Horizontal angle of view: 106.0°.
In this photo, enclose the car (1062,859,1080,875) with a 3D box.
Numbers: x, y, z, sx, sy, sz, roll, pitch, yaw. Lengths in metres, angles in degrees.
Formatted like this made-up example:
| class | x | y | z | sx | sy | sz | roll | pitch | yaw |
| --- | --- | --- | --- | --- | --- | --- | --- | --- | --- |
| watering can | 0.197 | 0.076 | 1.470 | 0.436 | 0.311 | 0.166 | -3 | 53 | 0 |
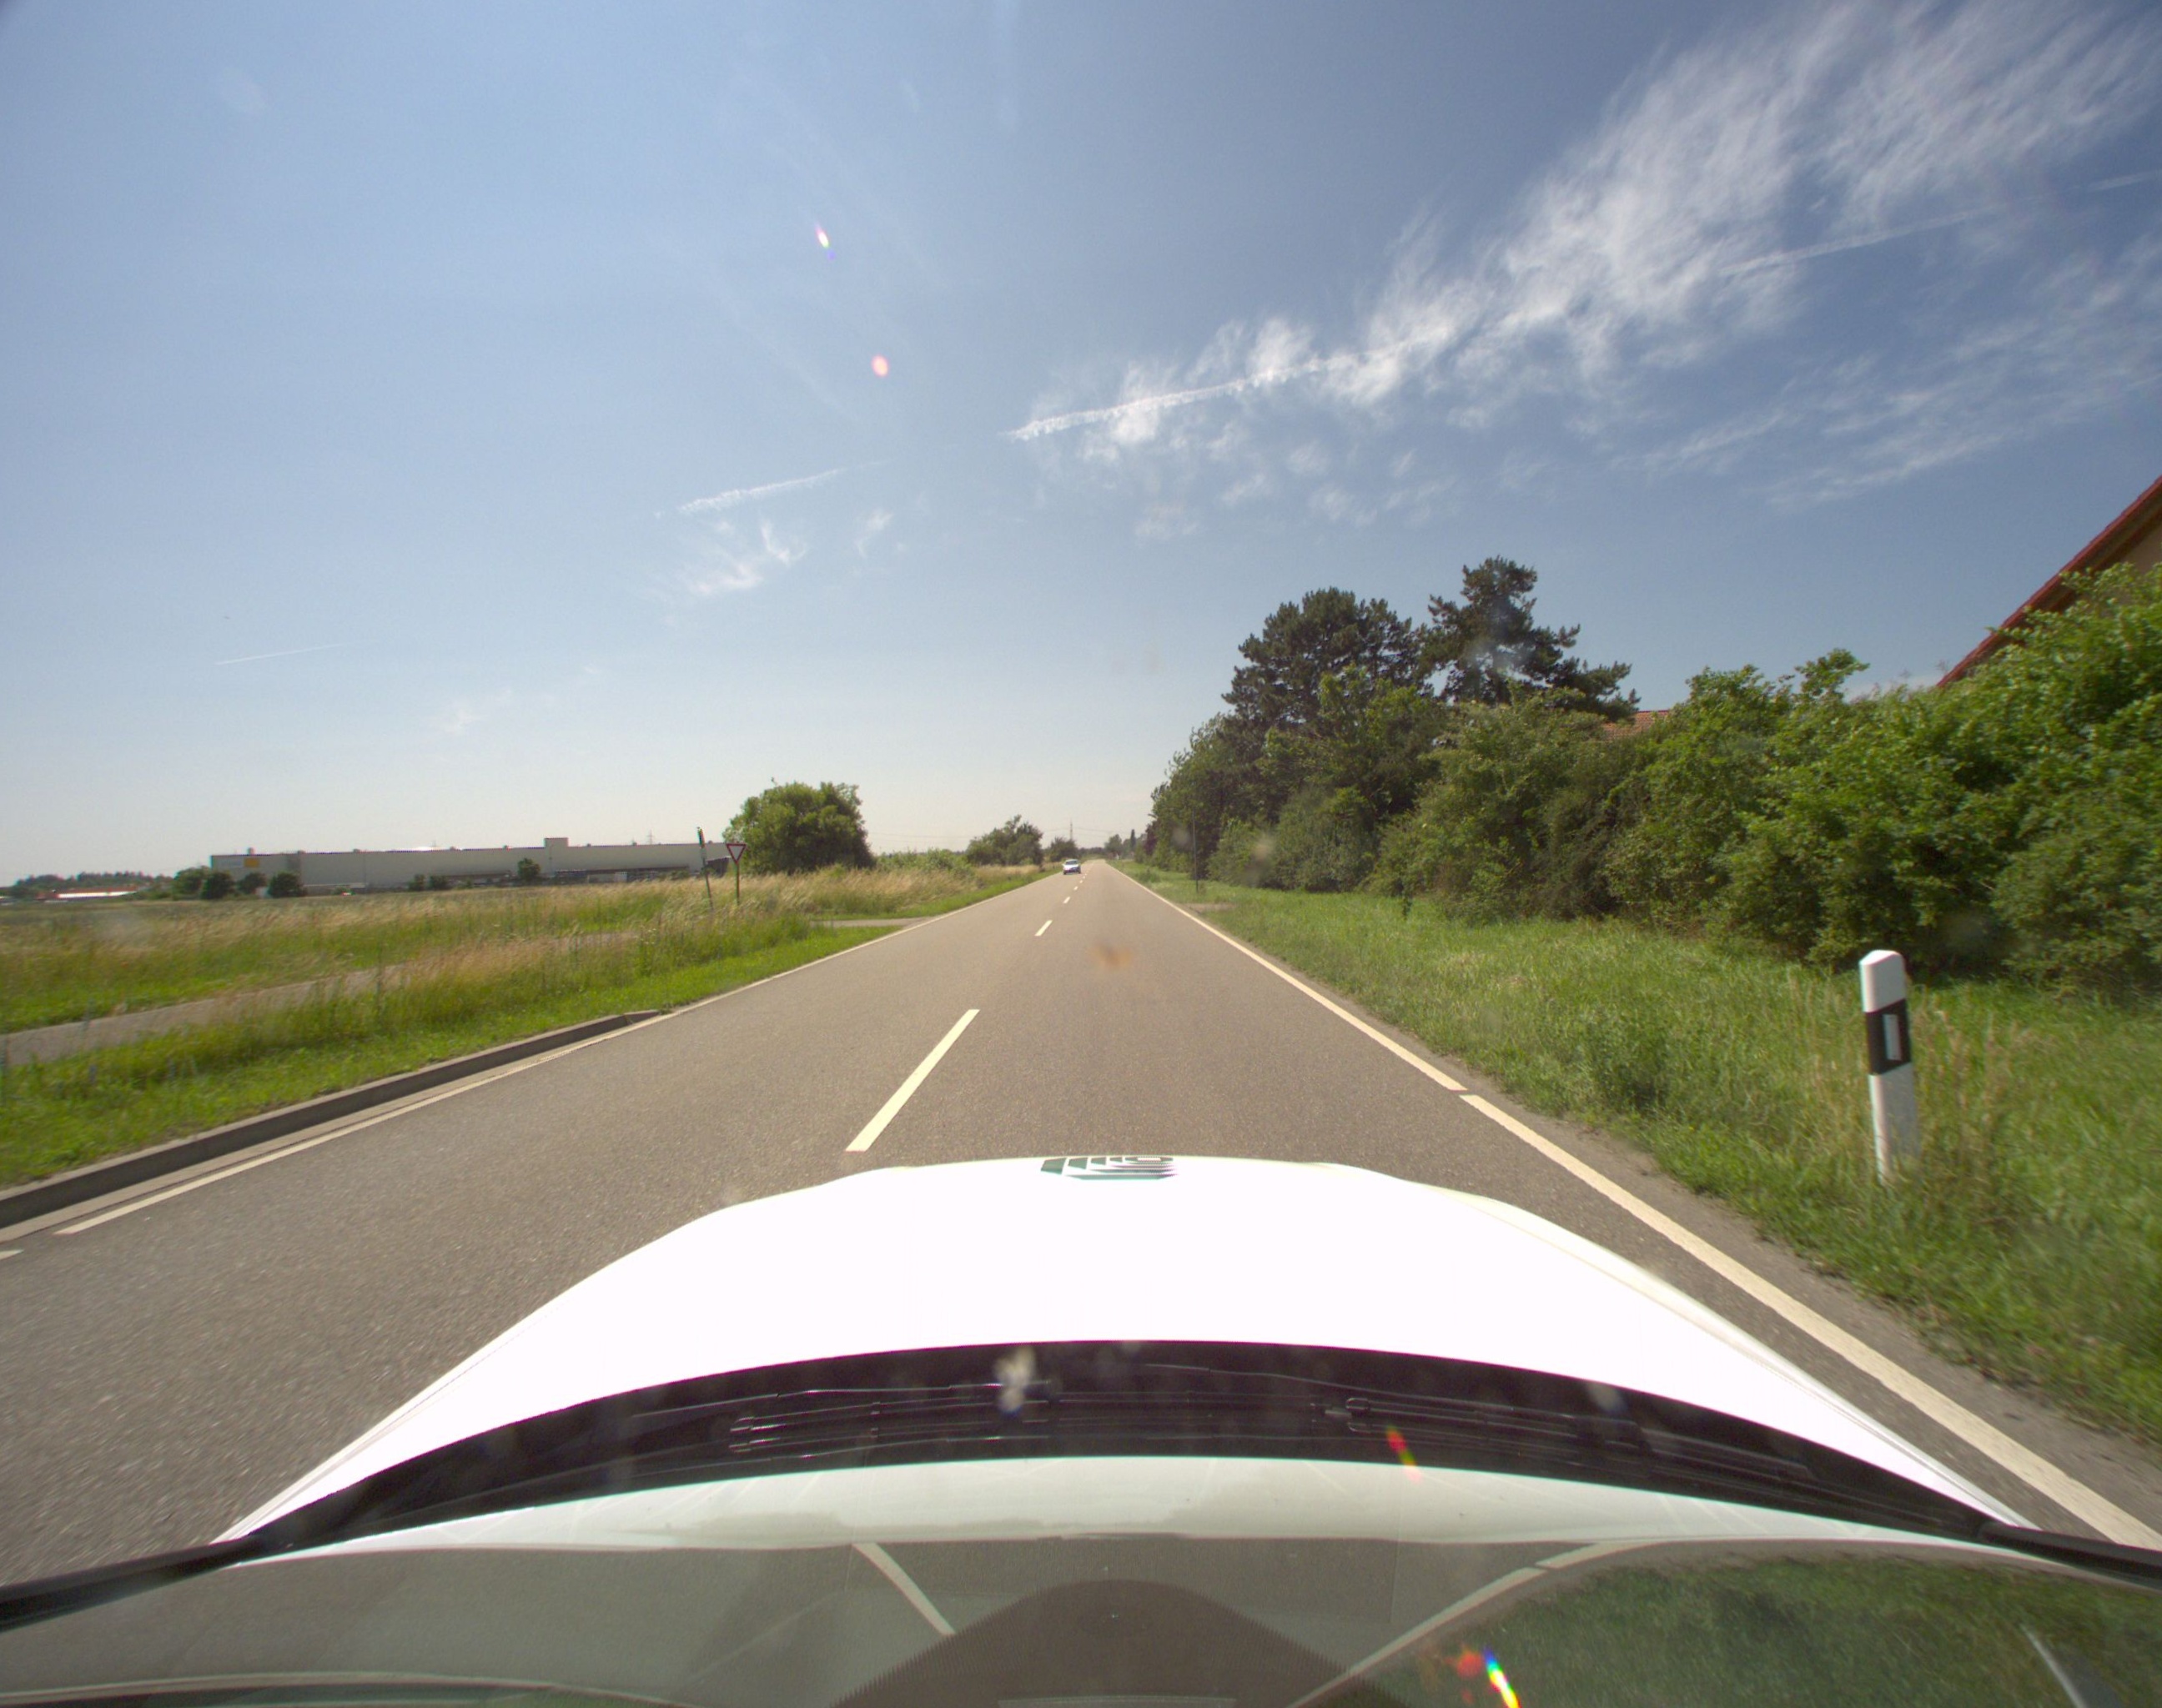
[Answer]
| class | x | y | z | sx | sy | sz | roll | pitch | yaw |
| --- | --- | --- | --- | --- | --- | --- | --- | --- | --- |
| car | -0.996 | 1.287 | 83.493 | 1.673 | 1.421 | 4.421 | -4 | 0 | 0 |
